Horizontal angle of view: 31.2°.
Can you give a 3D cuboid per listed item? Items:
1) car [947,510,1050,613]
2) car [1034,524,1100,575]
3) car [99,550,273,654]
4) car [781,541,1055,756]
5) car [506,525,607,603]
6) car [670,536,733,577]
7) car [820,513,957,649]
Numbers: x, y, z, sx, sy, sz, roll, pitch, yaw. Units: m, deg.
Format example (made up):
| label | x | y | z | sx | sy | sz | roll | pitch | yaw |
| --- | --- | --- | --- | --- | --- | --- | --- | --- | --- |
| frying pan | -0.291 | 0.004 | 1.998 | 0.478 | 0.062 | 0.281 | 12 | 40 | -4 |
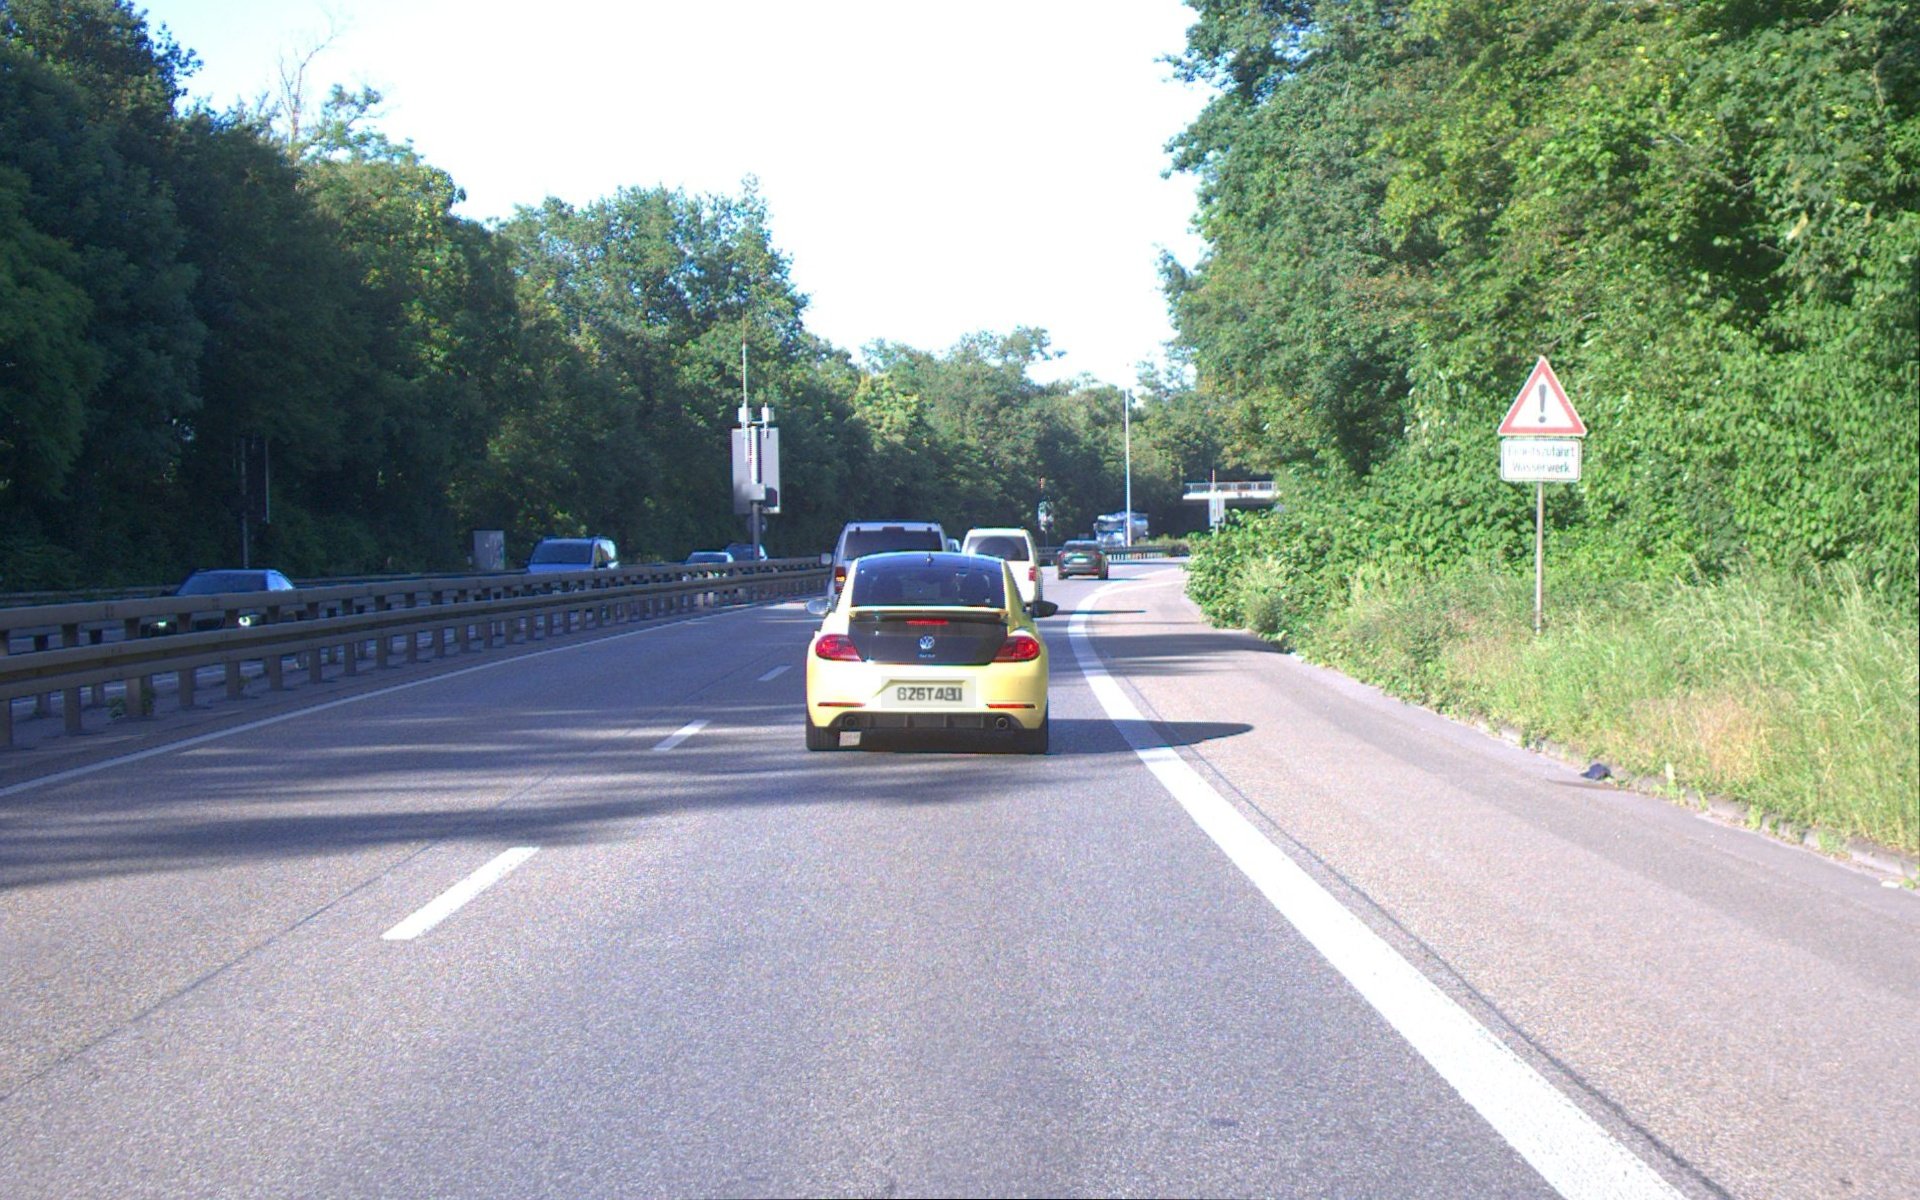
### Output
| label | x | y | z | sx | sy | sz | roll | pitch | yaw |
| --- | --- | --- | --- | --- | --- | --- | --- | --- | --- |
| car | 0.778 | -0.831 | 72.250 | 1.993 | 2.007 | 4.000 | -2 | 1 | -1 |
| car | 4.122 | -1.959 | 131.731 | 2.263 | 1.869 | 5.075 | 1 | 1 | 5 |
| car | -11.951 | 0.002 | 53.321 | 1.597 | 1.448 | 4.345 | -2 | 1 | 1 |
| car | -0.305 | 0.314 | 26.068 | 1.939 | 1.503 | 3.423 | 0 | 1 | 0 |
| car | -10.463 | -0.959 | 89.479 | 1.887 | 1.896 | 5.416 | -2 | 1 | 0 |
| car | -8.822 | -1.498 | 117.634 | 1.597 | 1.309 | 3.909 | -2 | 1 | 4 |
| car | -0.963 | -0.290 | 48.053 | 1.741 | 1.823 | 3.422 | 0 | 1 | 2 |
